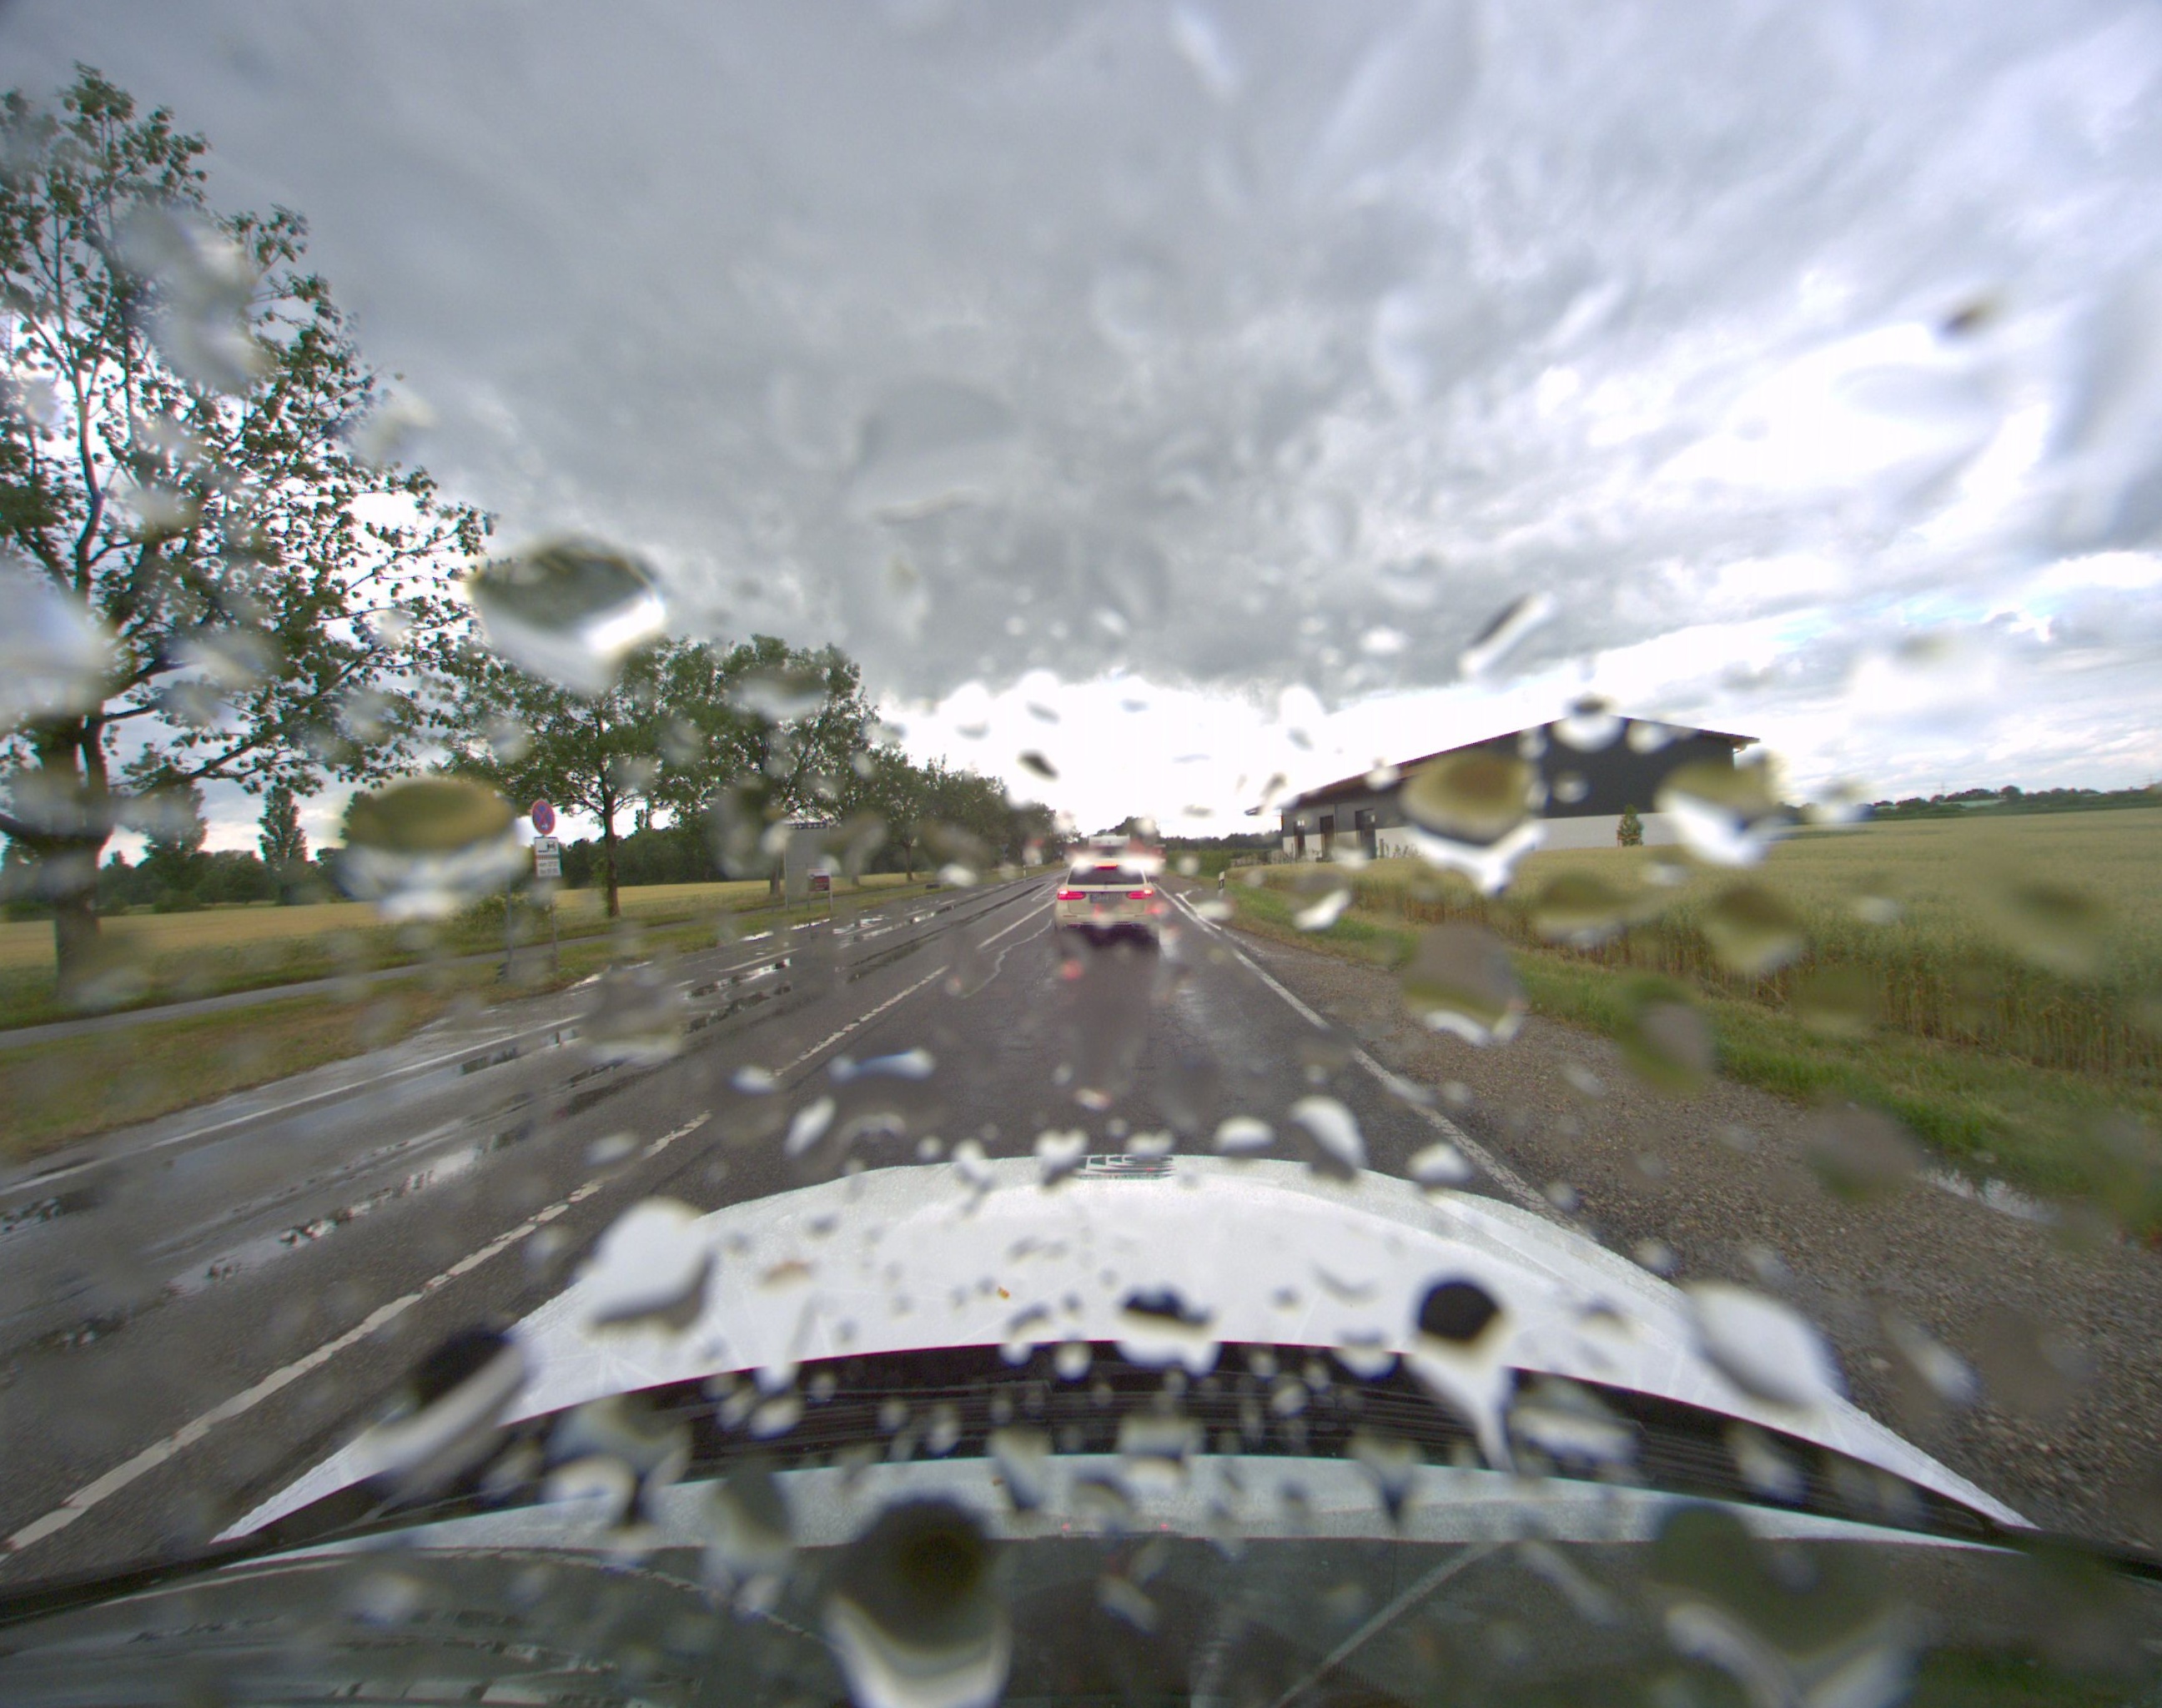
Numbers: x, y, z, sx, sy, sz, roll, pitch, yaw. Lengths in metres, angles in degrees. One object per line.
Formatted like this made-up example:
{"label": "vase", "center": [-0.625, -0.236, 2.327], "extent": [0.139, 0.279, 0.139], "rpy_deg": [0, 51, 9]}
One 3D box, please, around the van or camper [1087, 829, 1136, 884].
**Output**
{"label": "van or camper", "center": [1.807, 0.140, 46.942], "extent": [2.486, 2.831, 5.939], "rpy_deg": [-3, 0, 3]}

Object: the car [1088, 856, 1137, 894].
{"label": "car", "center": [1.311, 0.832, 33.943], "extent": [1.887, 1.429, 3.929], "rpy_deg": [-2, 0, 2]}

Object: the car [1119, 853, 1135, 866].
{"label": "car", "center": [5.664, 0.681, 100.721], "extent": [1.886, 1.590, 3.932], "rpy_deg": [-2, 0, 4]}

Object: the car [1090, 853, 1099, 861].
{"label": "car", "center": [3.025, 0.648, 185.428], "extent": [1.909, 1.632, 4.359], "rpy_deg": [-4, 0, 2]}

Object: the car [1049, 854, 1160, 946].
{"label": "car", "center": [0.479, 0.748, 15.307], "extent": [1.790, 1.464, 4.033], "rpy_deg": [-1, 0, 3]}
